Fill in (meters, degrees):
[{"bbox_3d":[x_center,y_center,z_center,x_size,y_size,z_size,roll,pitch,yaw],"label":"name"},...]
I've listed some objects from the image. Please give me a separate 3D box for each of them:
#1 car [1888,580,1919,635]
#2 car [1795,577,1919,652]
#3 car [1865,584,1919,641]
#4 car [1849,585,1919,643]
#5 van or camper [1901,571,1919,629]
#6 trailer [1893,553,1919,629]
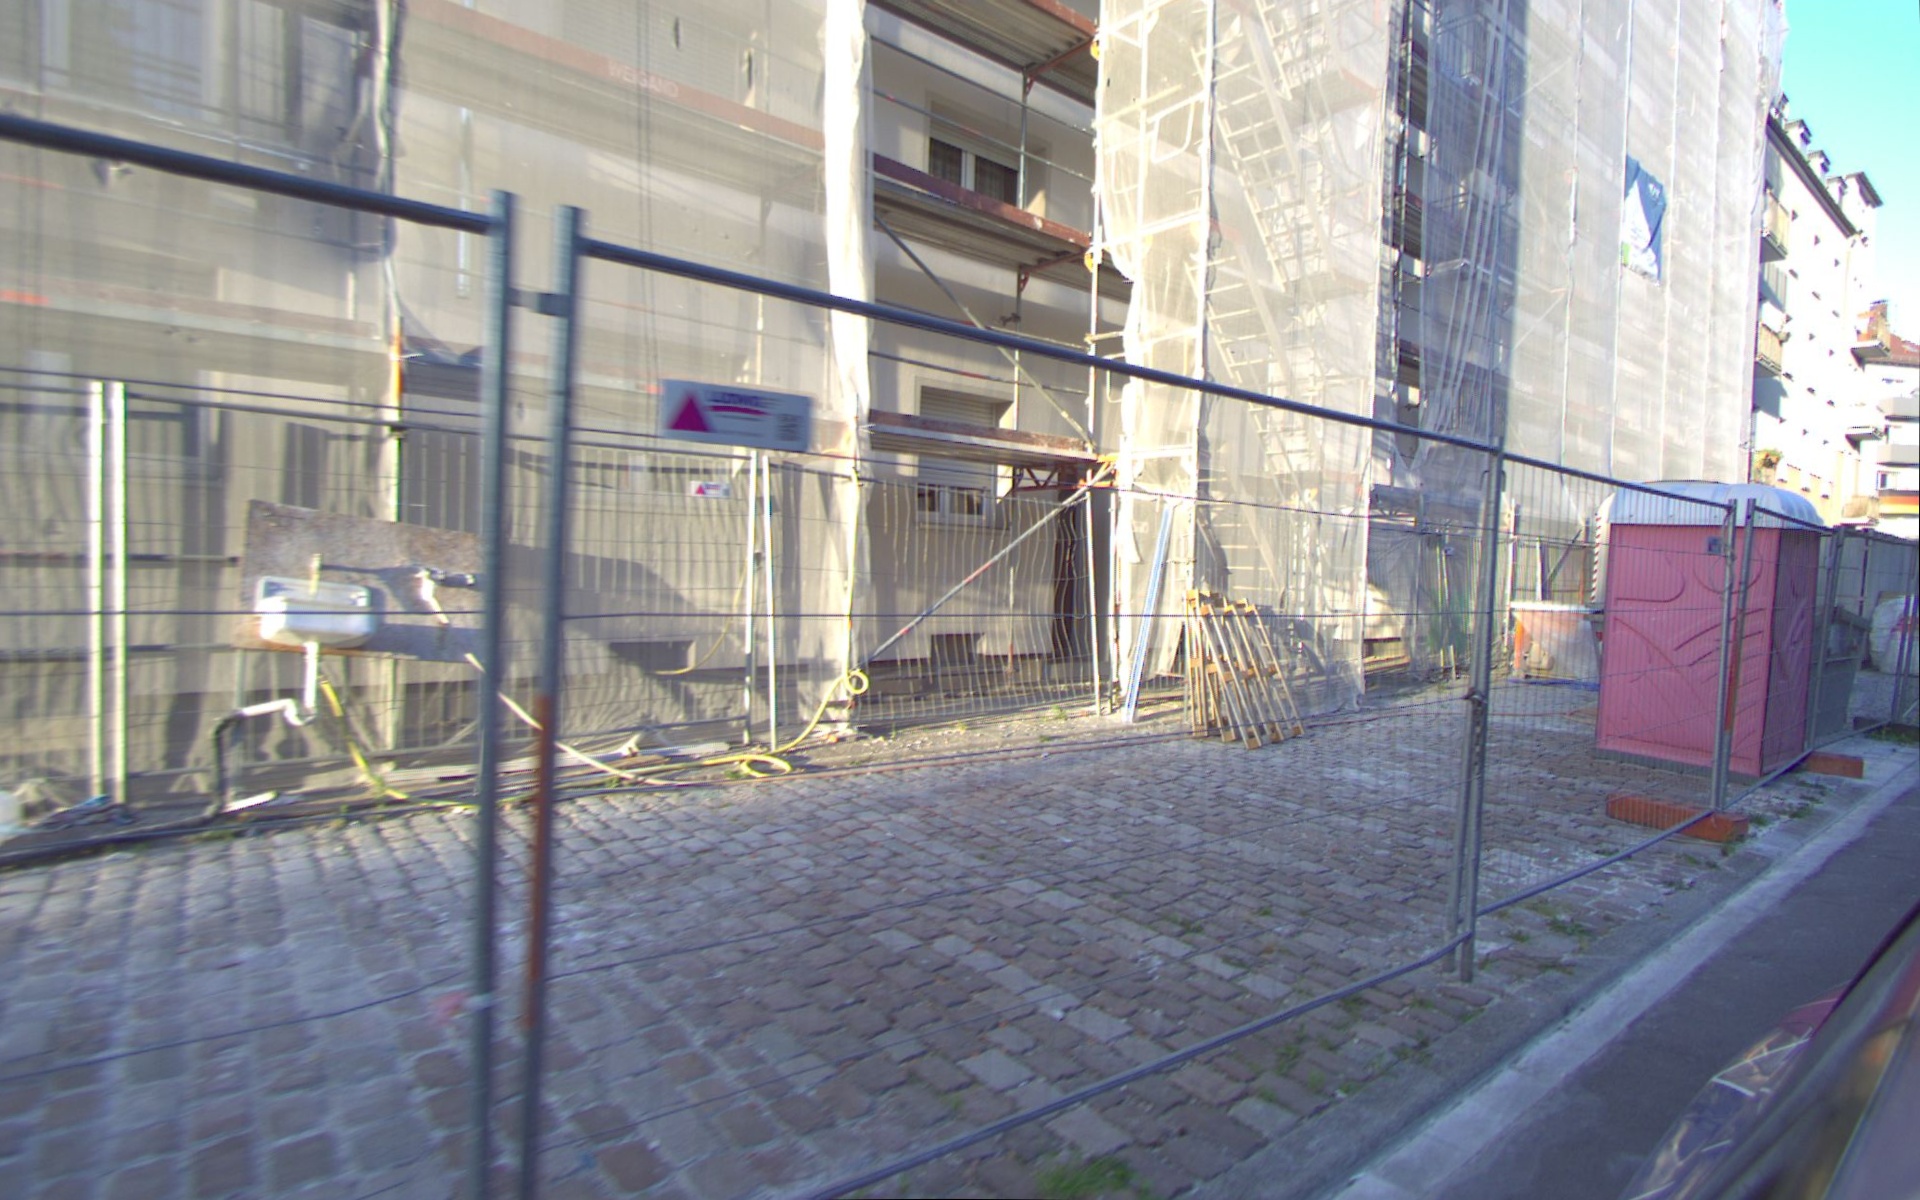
[{"bbox_3d":[33.007,0.293,32.895,1.965,1.749,3.995,-1,3,-41],"label":"car"},{"bbox_3d":[22.223,0.348,23.397,1.837,1.635,4.165,0,2,-38],"label":"car"},{"bbox_3d":[29.559,0.419,29.933,1.871,1.658,3.993,0,2,-42],"label":"car"},{"bbox_3d":[27.812,0.431,28.508,1.758,1.591,3.970,0,2,-42],"label":"car"},{"bbox_3d":[37.119,0.093,36.200,2.004,2.122,4.844,0,2,-40],"label":"van or camper"},{"bbox_3d":[31.630,-0.181,31.452,1.908,2.365,3.574,0,4,-42],"label":"trailer"}]
